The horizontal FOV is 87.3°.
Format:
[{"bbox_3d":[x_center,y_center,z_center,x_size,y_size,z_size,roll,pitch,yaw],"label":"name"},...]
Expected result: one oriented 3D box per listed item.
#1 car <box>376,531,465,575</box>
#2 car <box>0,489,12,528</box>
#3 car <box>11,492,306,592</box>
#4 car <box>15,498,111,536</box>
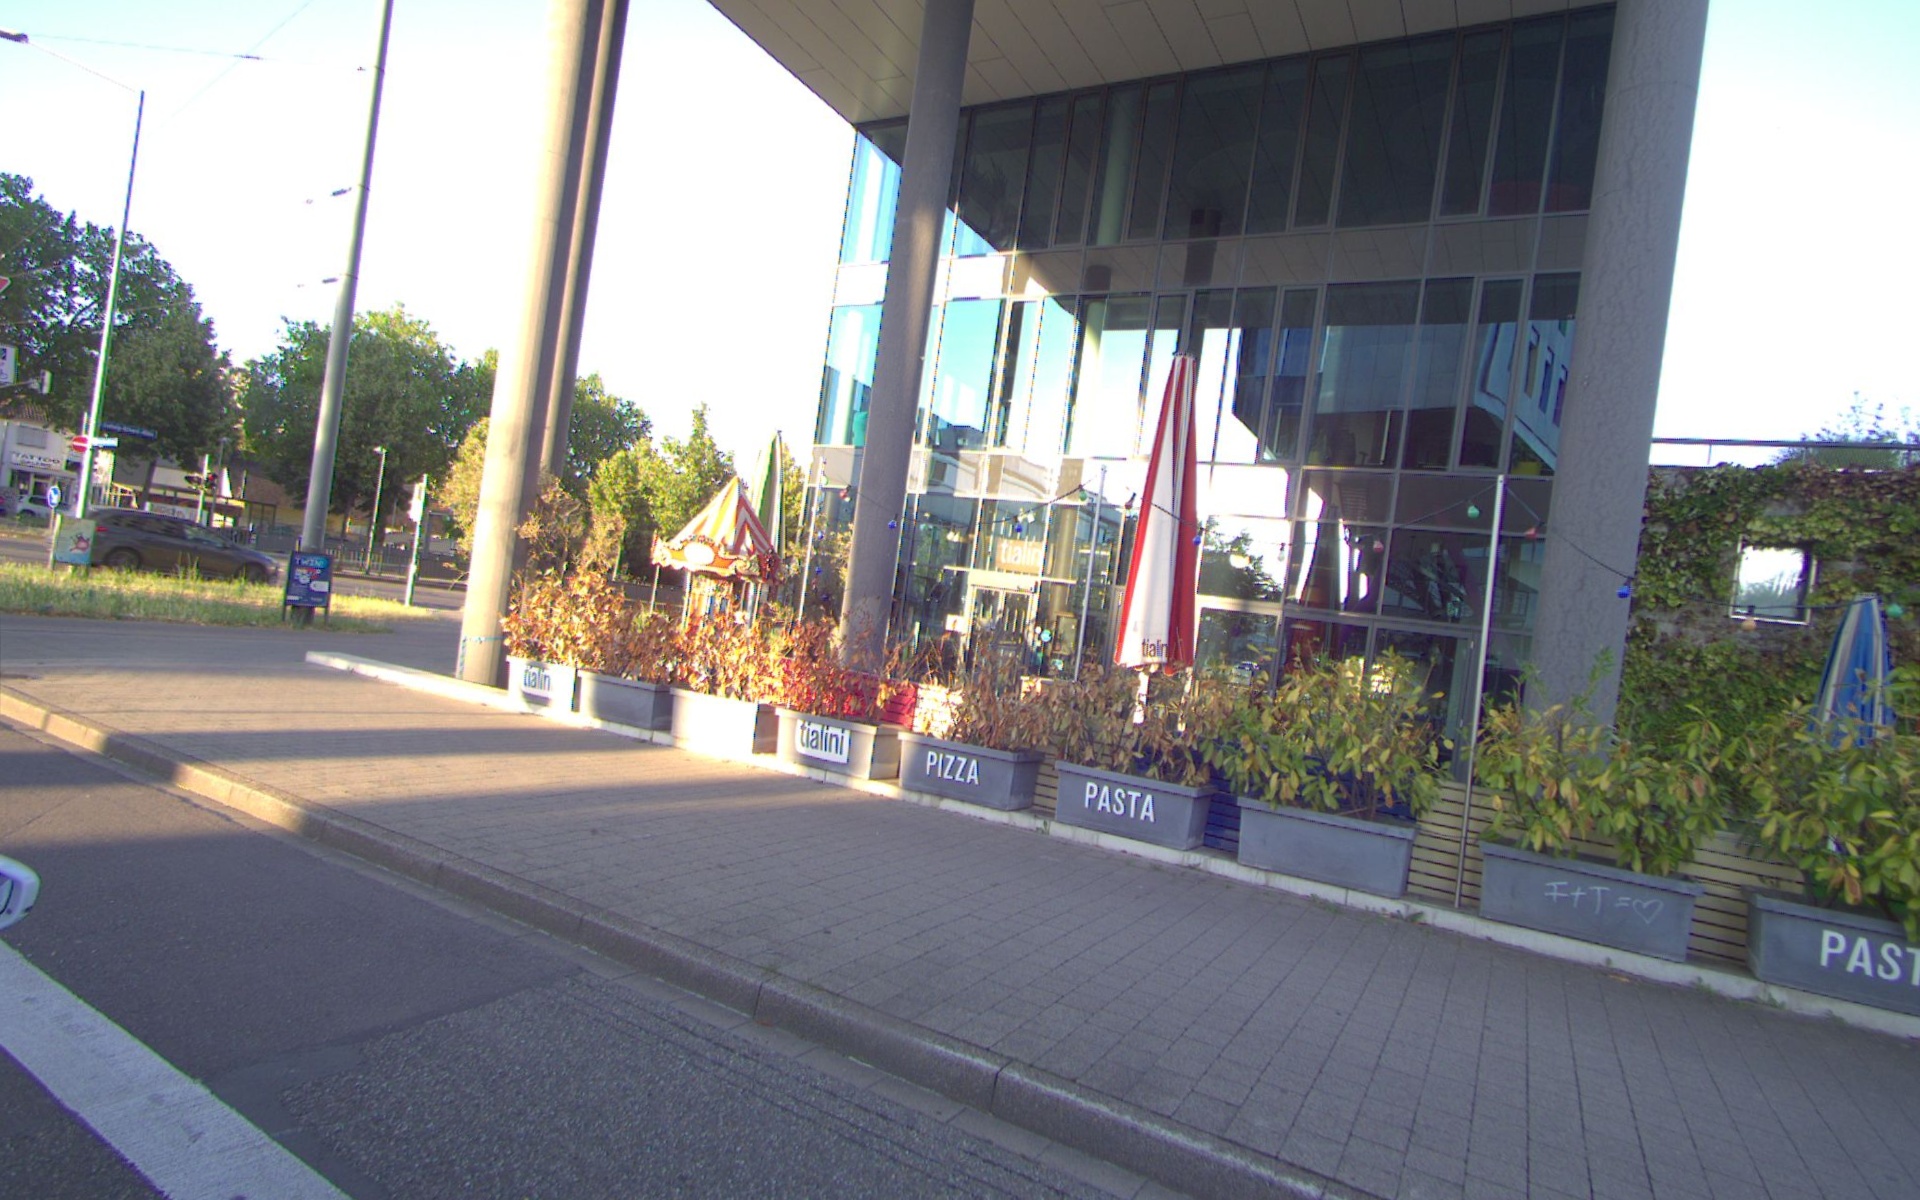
[{"bbox_3d":[-42.606,-3.677,79.543,2.197,2.581,5.594,7,-2,39],"label":"car"},{"bbox_3d":[-41.916,-4.109,40.897,1.968,1.570,4.479,6,-2,33],"label":"car"},{"bbox_3d":[-18.818,-1.293,23.925,1.954,1.528,5.019,7,-2,30],"label":"car"},{"bbox_3d":[-50.101,-4.641,56.249,1.641,1.456,3.736,6,-2,41],"label":"car"}]
